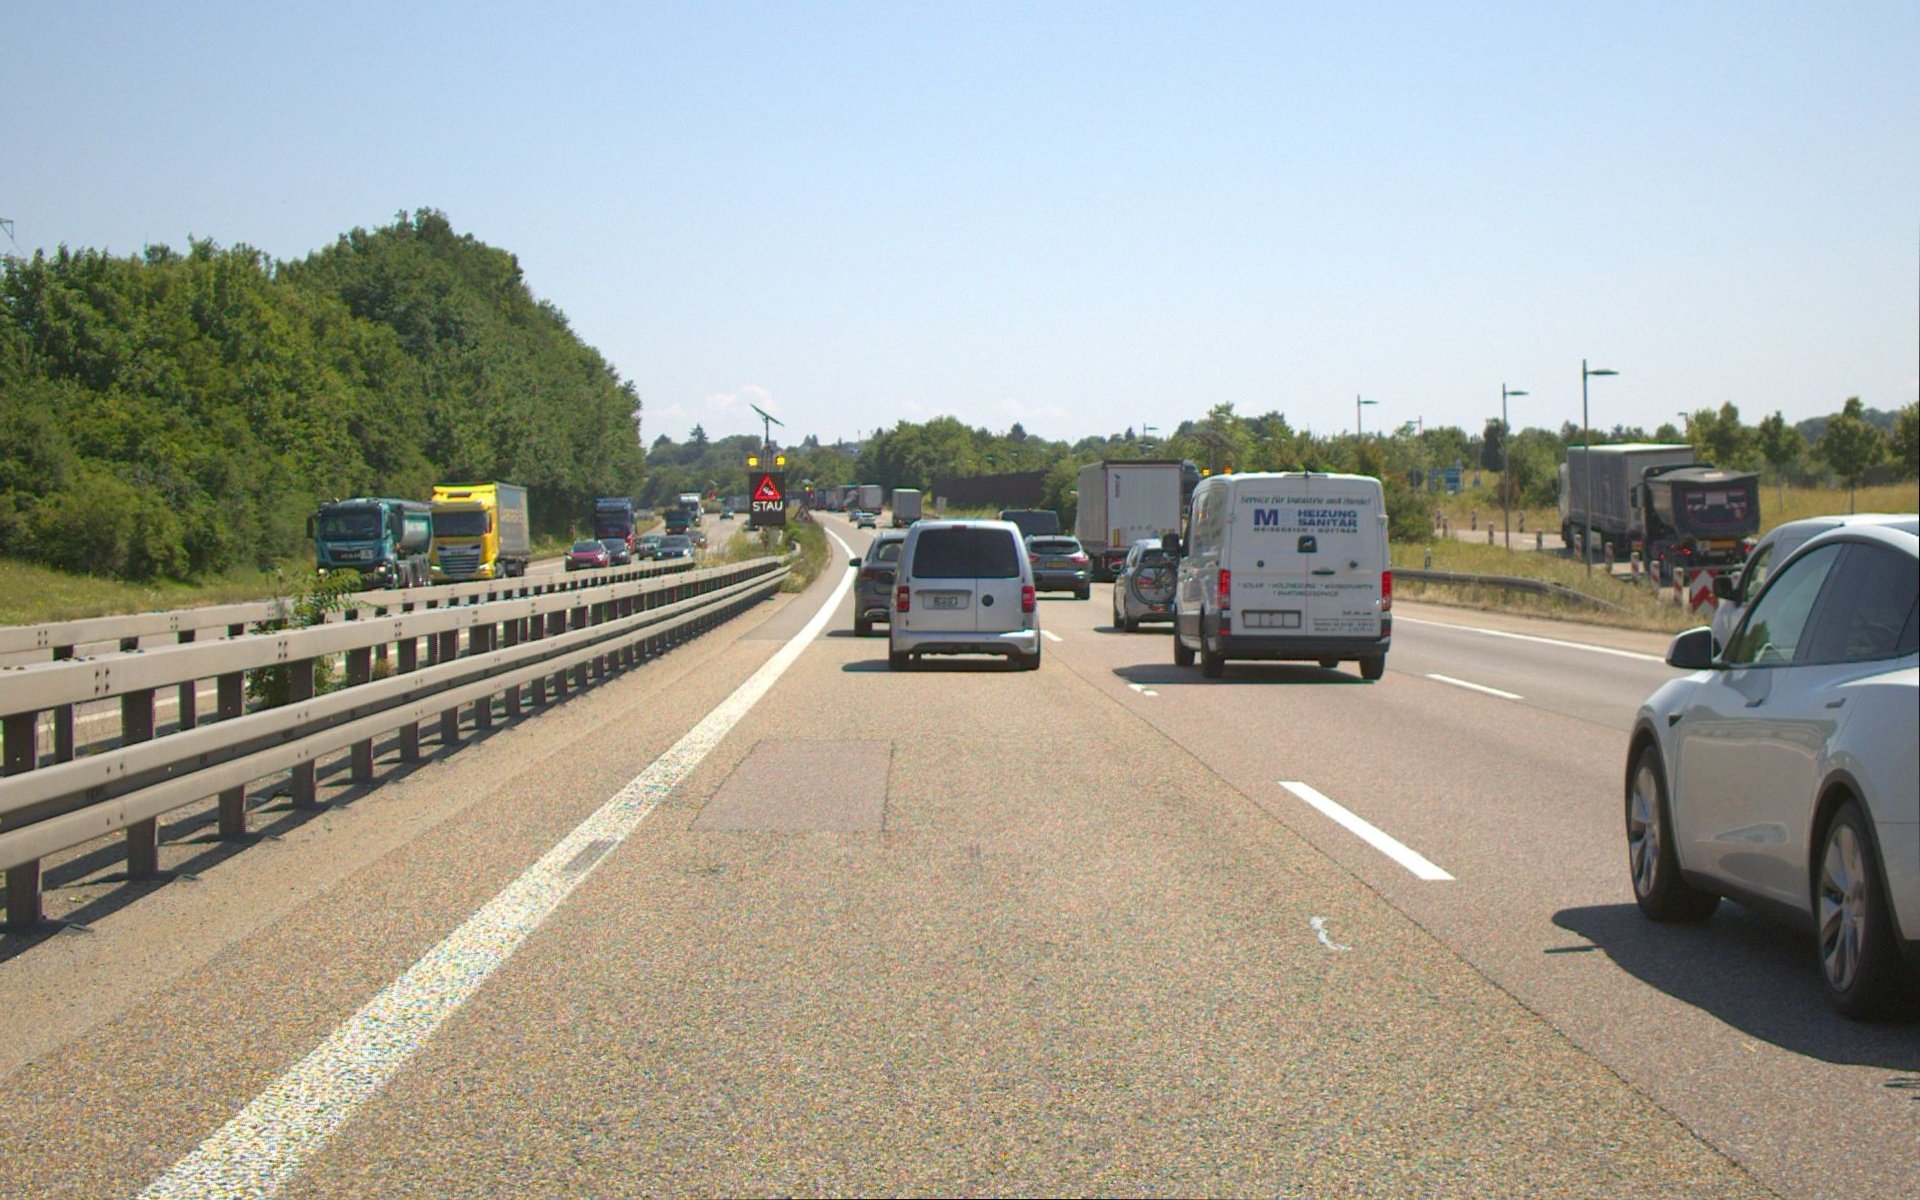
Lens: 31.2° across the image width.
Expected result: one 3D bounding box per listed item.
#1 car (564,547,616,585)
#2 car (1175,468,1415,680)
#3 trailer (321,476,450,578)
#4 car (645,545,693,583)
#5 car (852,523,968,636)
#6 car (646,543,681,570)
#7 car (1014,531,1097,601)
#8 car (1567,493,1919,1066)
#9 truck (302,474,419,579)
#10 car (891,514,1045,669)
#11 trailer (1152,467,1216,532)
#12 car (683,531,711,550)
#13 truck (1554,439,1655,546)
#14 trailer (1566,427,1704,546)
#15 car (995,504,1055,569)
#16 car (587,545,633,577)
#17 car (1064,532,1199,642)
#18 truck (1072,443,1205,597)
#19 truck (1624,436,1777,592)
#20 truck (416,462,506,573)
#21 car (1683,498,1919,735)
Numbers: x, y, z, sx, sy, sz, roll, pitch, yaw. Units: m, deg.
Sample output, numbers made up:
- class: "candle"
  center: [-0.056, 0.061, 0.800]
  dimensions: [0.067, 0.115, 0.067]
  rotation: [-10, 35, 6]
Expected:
- class: "car"
  center: [-15.796, -1.452, 146.775]
  dimensions: [1.782, 1.525, 4.385]
  rotation: [-3, 1, -1]
- class: "car"
  center: [3.756, -0.317, 39.499]
  dimensions: [2.181, 2.246, 5.363]
  rotation: [1, 1, 0]
- class: "trailer"
  center: [-19.541, -2.473, 117.519]
  dimensions: [2.914, 3.289, 9.711]
  rotation: [-1, 1, -1]
- class: "car"
  center: [-12.583, -1.568, 148.637]
  dimensions: [1.782, 1.619, 4.000]
  rotation: [-1, 1, -1]
- class: "car"
  center: [-0.761, -0.343, 54.482]
  dimensions: [1.745, 1.695, 4.089]
  rotation: [-1, 1, 0]
- class: "car"
  center: [-17.764, -2.632, 206.248]
  dimensions: [1.782, 1.525, 3.884]
  rotation: [-3, 1, -1]
- class: "car"
  center: [2.348, -0.859, 85.549]
  dimensions: [1.902, 1.666, 4.089]
  rotation: [-1, 1, 0]
- class: "car"
  center: [3.668, 0.499, 11.991]
  dimensions: [1.950, 1.631, 5.601]
  rotation: [1, 1, -1]
- class: "truck"
  center: [-19.437, -2.377, 111.653]
  dimensions: [2.914, 3.289, 5.331]
  rotation: [-1, 1, -1]
- class: "car"
  center: [0.084, -0.127, 41.622]
  dimensions: [1.745, 1.758, 4.089]
  rotation: [-1, 1, 0]
- class: "trailer"
  center: [15.748, -6.989, 243.033]
  dimensions: [2.605, 4.243, 18.424]
  rotation: [1, 1, -2]
- class: "car"
  center: [-19.602, -4.438, 256.415]
  dimensions: [1.769, 1.330, 4.922]
  rotation: [-2, 1, -2]
- class: "truck"
  center: [25.567, -4.228, 136.721]
  dimensions: [3.052, 4.069, 6.397]
  rotation: [1, 1, 3]
- class: "trailer"
  center: [25.170, -4.137, 128.895]
  dimensions: [3.052, 4.069, 14.257]
  rotation: [1, 1, 3]
- class: "car"
  center: [1.939, -1.896, 103.365]
  dimensions: [1.674, 1.885, 4.089]
  rotation: [-1, 1, 0]
- class: "car"
  center: [-17.032, -1.914, 167.568]
  dimensions: [1.712, 1.464, 4.146]
  rotation: [-2, 1, 1]
- class: "car"
  center: [2.803, -0.241, 57.000]
  dimensions: [1.976, 1.727, 4.089]
  rotation: [-1, 1, 0]
- class: "truck"
  center: [6.055, -2.694, 118.777]
  dimensions: [3.788, 4.982, 12.519]
  rotation: [1, 1, 0]
- class: "truck"
  center: [20.676, -2.325, 96.640]
  dimensions: [3.790, 4.069, 12.513]
  rotation: [1, 1, 11]
- class: "truck"
  center: [-19.868, -3.262, 137.096]
  dimensions: [3.174, 4.326, 3.513]
  rotation: [-1, 1, -3]
- class: "car"
  center: [7.583, 0.093, 28.893]
  dimensions: [1.950, 1.831, 4.179]
  rotation: [-1, 1, -2]
